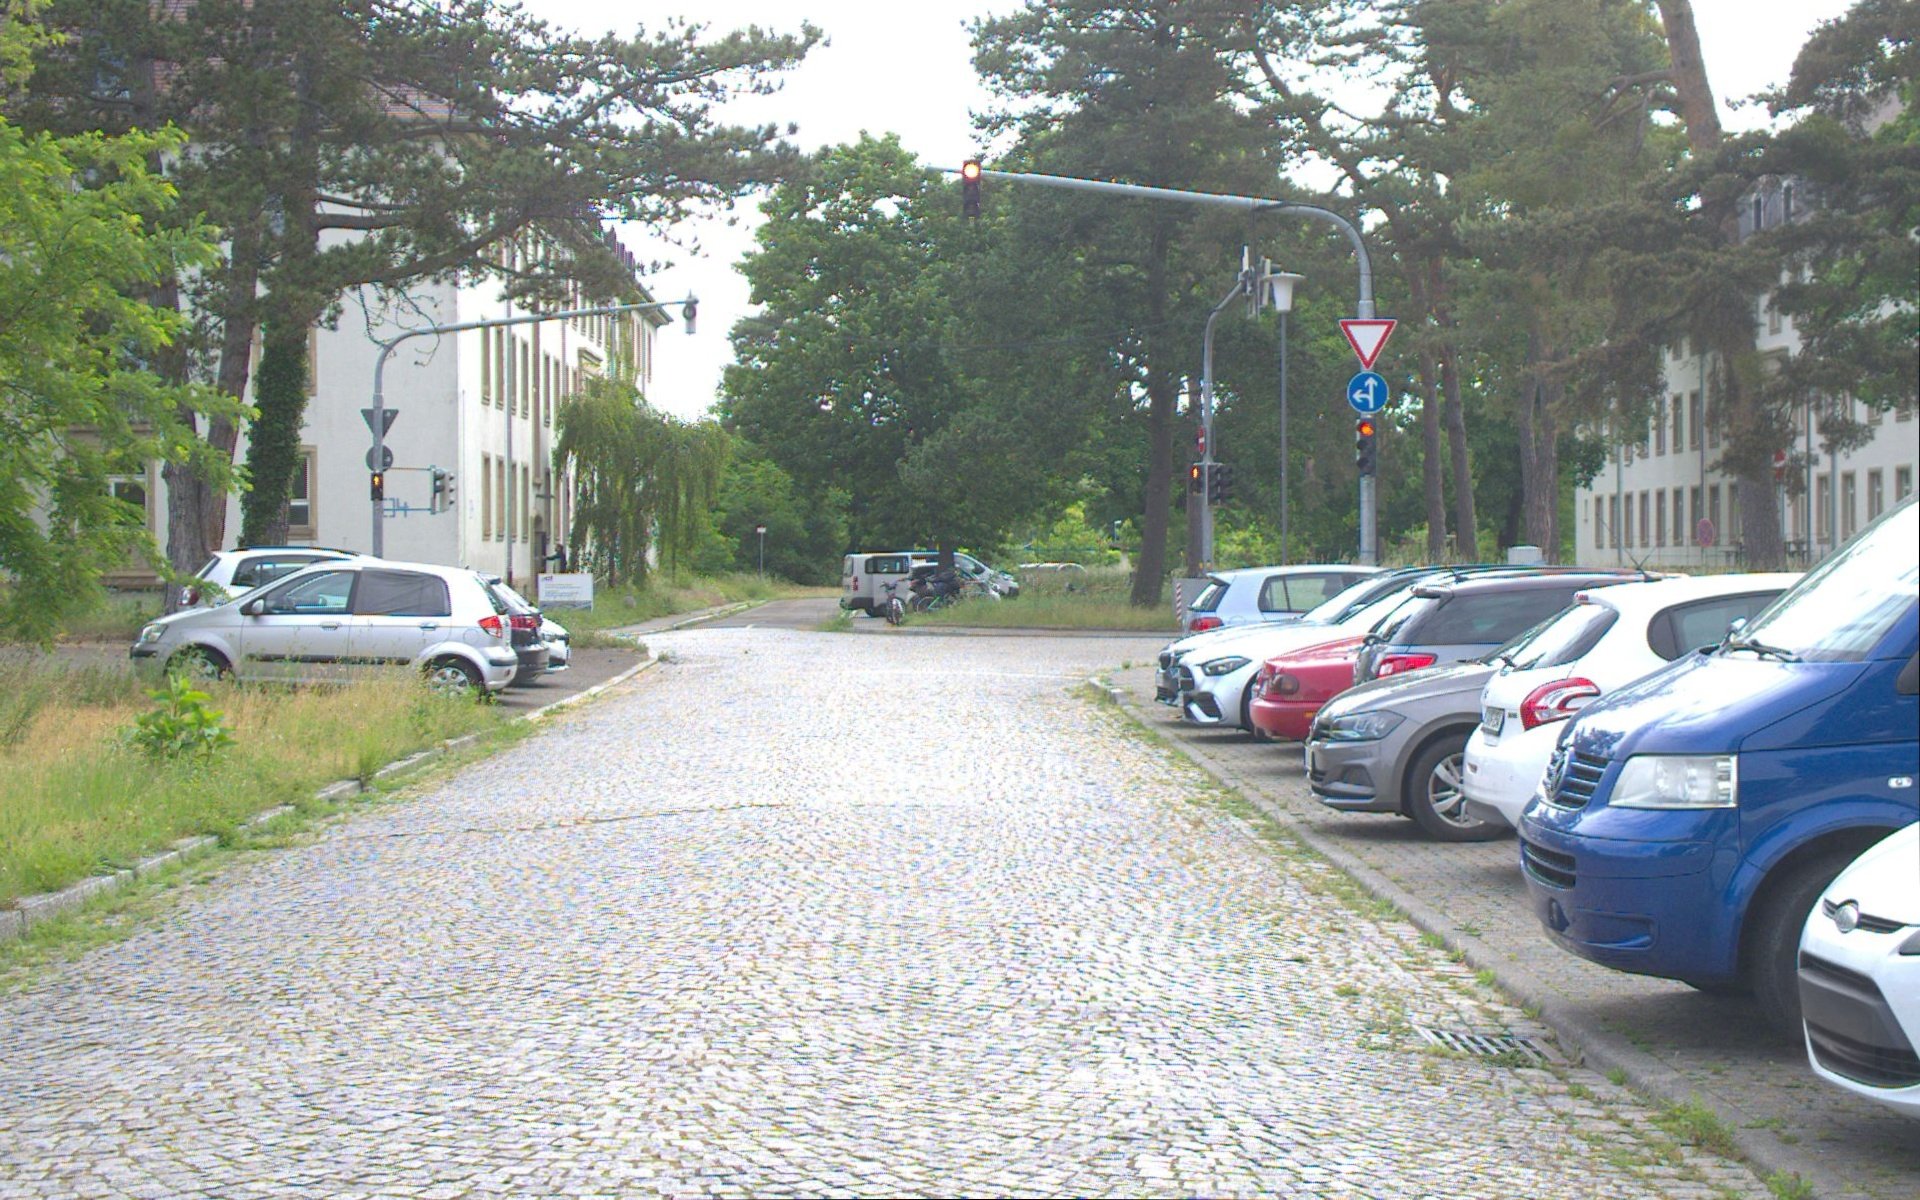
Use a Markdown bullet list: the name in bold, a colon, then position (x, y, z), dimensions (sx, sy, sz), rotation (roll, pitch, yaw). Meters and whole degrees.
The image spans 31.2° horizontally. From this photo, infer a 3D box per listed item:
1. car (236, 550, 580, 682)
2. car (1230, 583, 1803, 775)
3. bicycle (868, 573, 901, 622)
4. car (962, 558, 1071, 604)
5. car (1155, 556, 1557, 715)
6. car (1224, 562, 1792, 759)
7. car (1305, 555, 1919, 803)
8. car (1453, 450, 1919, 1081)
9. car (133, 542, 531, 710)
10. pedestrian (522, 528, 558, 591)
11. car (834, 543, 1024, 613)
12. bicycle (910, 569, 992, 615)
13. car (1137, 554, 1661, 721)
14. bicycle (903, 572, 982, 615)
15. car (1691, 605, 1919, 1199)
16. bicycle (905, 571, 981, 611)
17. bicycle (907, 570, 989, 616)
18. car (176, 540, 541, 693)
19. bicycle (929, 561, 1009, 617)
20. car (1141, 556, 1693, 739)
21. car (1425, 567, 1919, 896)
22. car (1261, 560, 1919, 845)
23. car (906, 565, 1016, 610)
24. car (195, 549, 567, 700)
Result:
- **car**: position (-6.763, 0.188, 42.393), dimensions (3.947, 1.416, 1.650), rotation (3, 0, -1)
- **car**: position (4.033, 0.557, 25.334), dimensions (3.862, 1.232, 1.758), rotation (-2, 1, -2)
- **bicycle**: position (-1.781, -0.064, 80.978), dimensions (0.603, 1.129, 1.962), rotation (0, 1, -7)
- **car**: position (1.736, -0.592, 106.171), dimensions (3.231, 1.411, 1.725), rotation (0, 1, -3)
- **car**: position (4.026, 0.347, 35.380), dimensions (3.927, 1.472, 1.642), rotation (-2, 1, 1)
- **car**: position (4.388, 0.465, 27.977), dimensions (4.261, 1.412, 1.871), rotation (-2, 1, -1)
- **car**: position (4.355, 0.491, 22.864), dimensions (3.862, 1.467, 1.758), rotation (-2, 1, -2)
- **car**: position (4.287, 0.446, 11.806), dimensions (4.807, 1.939, 2.003), rotation (-2, 1, -2)
- **car**: position (-6.246, 0.246, 34.477), dimensions (3.702, 1.474, 1.583), rotation (3, 0, -4)
- **pedestrian**: position (-12.189, -1.176, 99.808), dimensions (0.774, 1.831, 0.741), rotation (0, 1, -32)
- **car**: position (-0.929, -0.668, 102.264), dimensions (5.359, 1.918, 2.025), rotation (-1, 1, -10)
- **bicycle**: position (-0.229, -0.196, 84.188), dimensions (1.954, 1.129, 0.588), rotation (0, 1, -7)
- **car**: position (4.143, 0.332, 32.929), dimensions (4.680, 1.412, 1.871), rotation (-2, 1, -3)
- **bicycle**: position (-0.435, -0.173, 86.299), dimensions (1.955, 1.066, 0.588), rotation (0, 1, -30)
- **car**: position (4.122, 0.721, 9.213), dimensions (3.862, 1.467, 1.841), rotation (-2, 1, -2)
- **bicycle**: position (-0.456, -0.240, 91.339), dimensions (1.954, 1.066, 0.588), rotation (0, 1, -25)
- **bicycle**: position (-0.304, -0.180, 84.820), dimensions (1.954, 1.113, 0.588), rotation (0, 1, -7)
- **car**: position (-6.917, 0.176, 39.848), dimensions (3.947, 1.558, 1.650), rotation (3, 0, -4)
- **bicycle**: position (0.222, -0.268, 85.656), dimensions (1.954, 1.379, 0.588), rotation (0, 1, -7)
- **car**: position (3.976, 0.386, 30.241), dimensions (4.421, 1.412, 1.871), rotation (-2, 1, -10)
- **car**: position (4.411, 0.595, 17.158), dimensions (3.862, 1.467, 1.758), rotation (-2, 1, -2)
- **car**: position (3.802, 0.558, 20.017), dimensions (3.862, 1.467, 1.758), rotation (-2, 1, -2)
- **car**: position (0.019, -0.354, 98.912), dimensions (3.005, 1.264, 1.535), rotation (0, 1, -6)
- **car**: position (-6.195, 0.255, 37.076), dimensions (3.745, 1.424, 1.583), rotation (3, 0, -4)
